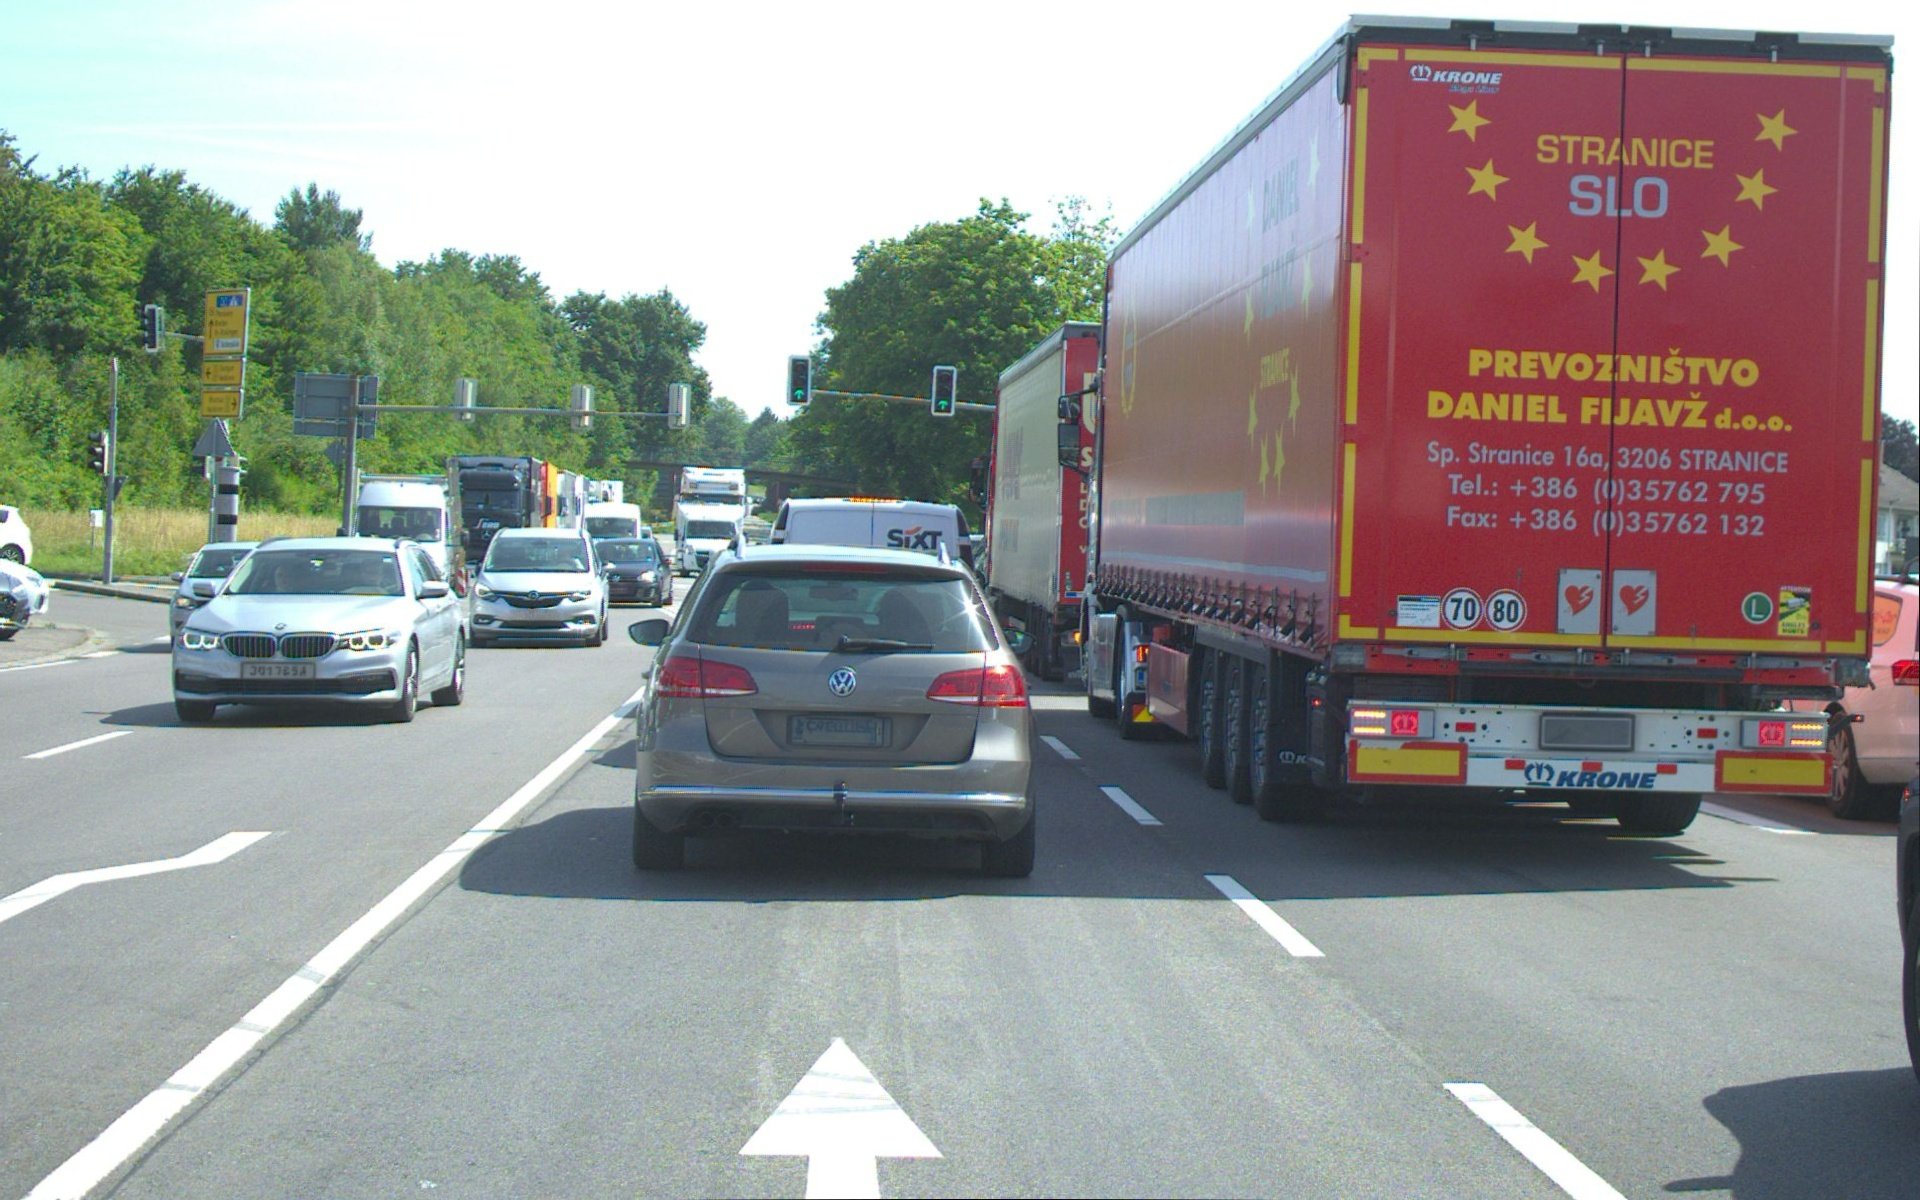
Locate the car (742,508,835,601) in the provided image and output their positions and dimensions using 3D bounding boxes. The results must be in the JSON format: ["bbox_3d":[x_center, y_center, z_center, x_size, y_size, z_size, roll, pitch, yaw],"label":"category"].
[{"bbox_3d":[-3.722,-0.977,74.850,1.727,1.902,3.312,2,0,1],"label":"car"}]

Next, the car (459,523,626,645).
[{"bbox_3d":[-5.858,-0.249,48.635,1.909,1.657,4.181,0,1,-1],"label":"car"}]

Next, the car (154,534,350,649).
[{"bbox_3d":[-9.505,-0.140,46.438,1.836,1.443,4.081,1,1,-1],"label":"car"}]

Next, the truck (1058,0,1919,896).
[{"bbox_3d":[2.778,-0.966,24.129,2.957,4.255,16.586,2,1,-2],"label":"truck"}]

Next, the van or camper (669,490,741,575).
[{"bbox_3d":[-9.010,-2.351,121.939,2.224,2.831,5.711,2,0,-2],"label":"van or camper"}]

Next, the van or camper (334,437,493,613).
[{"bbox_3d":[-10.611,-1.467,67.197,2.207,3.045,5.903,7,1,-4],"label":"van or camper"}]

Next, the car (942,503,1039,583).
[{"bbox_3d":[0.602,-1.147,70.032,1.726,1.514,3.312,2,0,-3],"label":"car"}]

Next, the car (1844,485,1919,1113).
[{"bbox_3d":[3.501,0.569,7.937,1.819,1.679,4.000,1,1,-1],"label":"car"}]

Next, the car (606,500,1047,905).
[{"bbox_3d":[-0.515,0.398,15.901,1.790,1.633,3.503,1,1,1],"label":"car"}]

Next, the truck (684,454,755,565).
[{"bbox_3d":[-9.520,-3.571,136.838,2.552,4.292,7.596,0,1,-2],"label":"truck"}]

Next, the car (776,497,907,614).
[{"bbox_3d":[-1.642,-0.613,48.365,1.727,1.514,3.312,2,0,-1],"label":"car"}]

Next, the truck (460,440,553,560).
[{"bbox_3d":[-14.838,-3.253,112.775,2.812,3.773,6.991,0,1,-6],"label":"truck"}]

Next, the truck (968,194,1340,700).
[{"bbox_3d":[2.055,-1.761,44.553,3.062,5.203,17.009,2,1,-2],"label":"truck"}]

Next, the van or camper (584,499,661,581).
[{"bbox_3d":[-10.900,-1.949,111.352,2.173,2.542,4.171,2,1,-3],"label":"van or camper"}]

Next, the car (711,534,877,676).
[{"bbox_3d":[-1.886,0.051,39.903,1.727,1.514,3.312,2,0,0],"label":"car"}]

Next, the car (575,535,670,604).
[{"bbox_3d":[-7.041,-0.662,72.047,1.666,1.404,3.926,0,1,-1],"label":"car"}]

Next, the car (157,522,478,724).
[{"bbox_3d":[-5.295,0.139,28.929,1.909,1.516,4.782,1,1,-2],"label":"car"}]

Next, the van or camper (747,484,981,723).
[{"bbox_3d":[-0.874,-0.004,30.183,1.852,1.899,3.785,2,1,-3],"label":"van or camper"}]

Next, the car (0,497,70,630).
[{"bbox_3d":[-14.071,-0.528,44.916,4.521,1.687,2.128,2,1,30],"label":"car"}]

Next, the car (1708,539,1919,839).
[{"bbox_3d":[6.033,0.480,21.379,1.819,1.679,4.000,1,1,-1],"label":"car"}]
